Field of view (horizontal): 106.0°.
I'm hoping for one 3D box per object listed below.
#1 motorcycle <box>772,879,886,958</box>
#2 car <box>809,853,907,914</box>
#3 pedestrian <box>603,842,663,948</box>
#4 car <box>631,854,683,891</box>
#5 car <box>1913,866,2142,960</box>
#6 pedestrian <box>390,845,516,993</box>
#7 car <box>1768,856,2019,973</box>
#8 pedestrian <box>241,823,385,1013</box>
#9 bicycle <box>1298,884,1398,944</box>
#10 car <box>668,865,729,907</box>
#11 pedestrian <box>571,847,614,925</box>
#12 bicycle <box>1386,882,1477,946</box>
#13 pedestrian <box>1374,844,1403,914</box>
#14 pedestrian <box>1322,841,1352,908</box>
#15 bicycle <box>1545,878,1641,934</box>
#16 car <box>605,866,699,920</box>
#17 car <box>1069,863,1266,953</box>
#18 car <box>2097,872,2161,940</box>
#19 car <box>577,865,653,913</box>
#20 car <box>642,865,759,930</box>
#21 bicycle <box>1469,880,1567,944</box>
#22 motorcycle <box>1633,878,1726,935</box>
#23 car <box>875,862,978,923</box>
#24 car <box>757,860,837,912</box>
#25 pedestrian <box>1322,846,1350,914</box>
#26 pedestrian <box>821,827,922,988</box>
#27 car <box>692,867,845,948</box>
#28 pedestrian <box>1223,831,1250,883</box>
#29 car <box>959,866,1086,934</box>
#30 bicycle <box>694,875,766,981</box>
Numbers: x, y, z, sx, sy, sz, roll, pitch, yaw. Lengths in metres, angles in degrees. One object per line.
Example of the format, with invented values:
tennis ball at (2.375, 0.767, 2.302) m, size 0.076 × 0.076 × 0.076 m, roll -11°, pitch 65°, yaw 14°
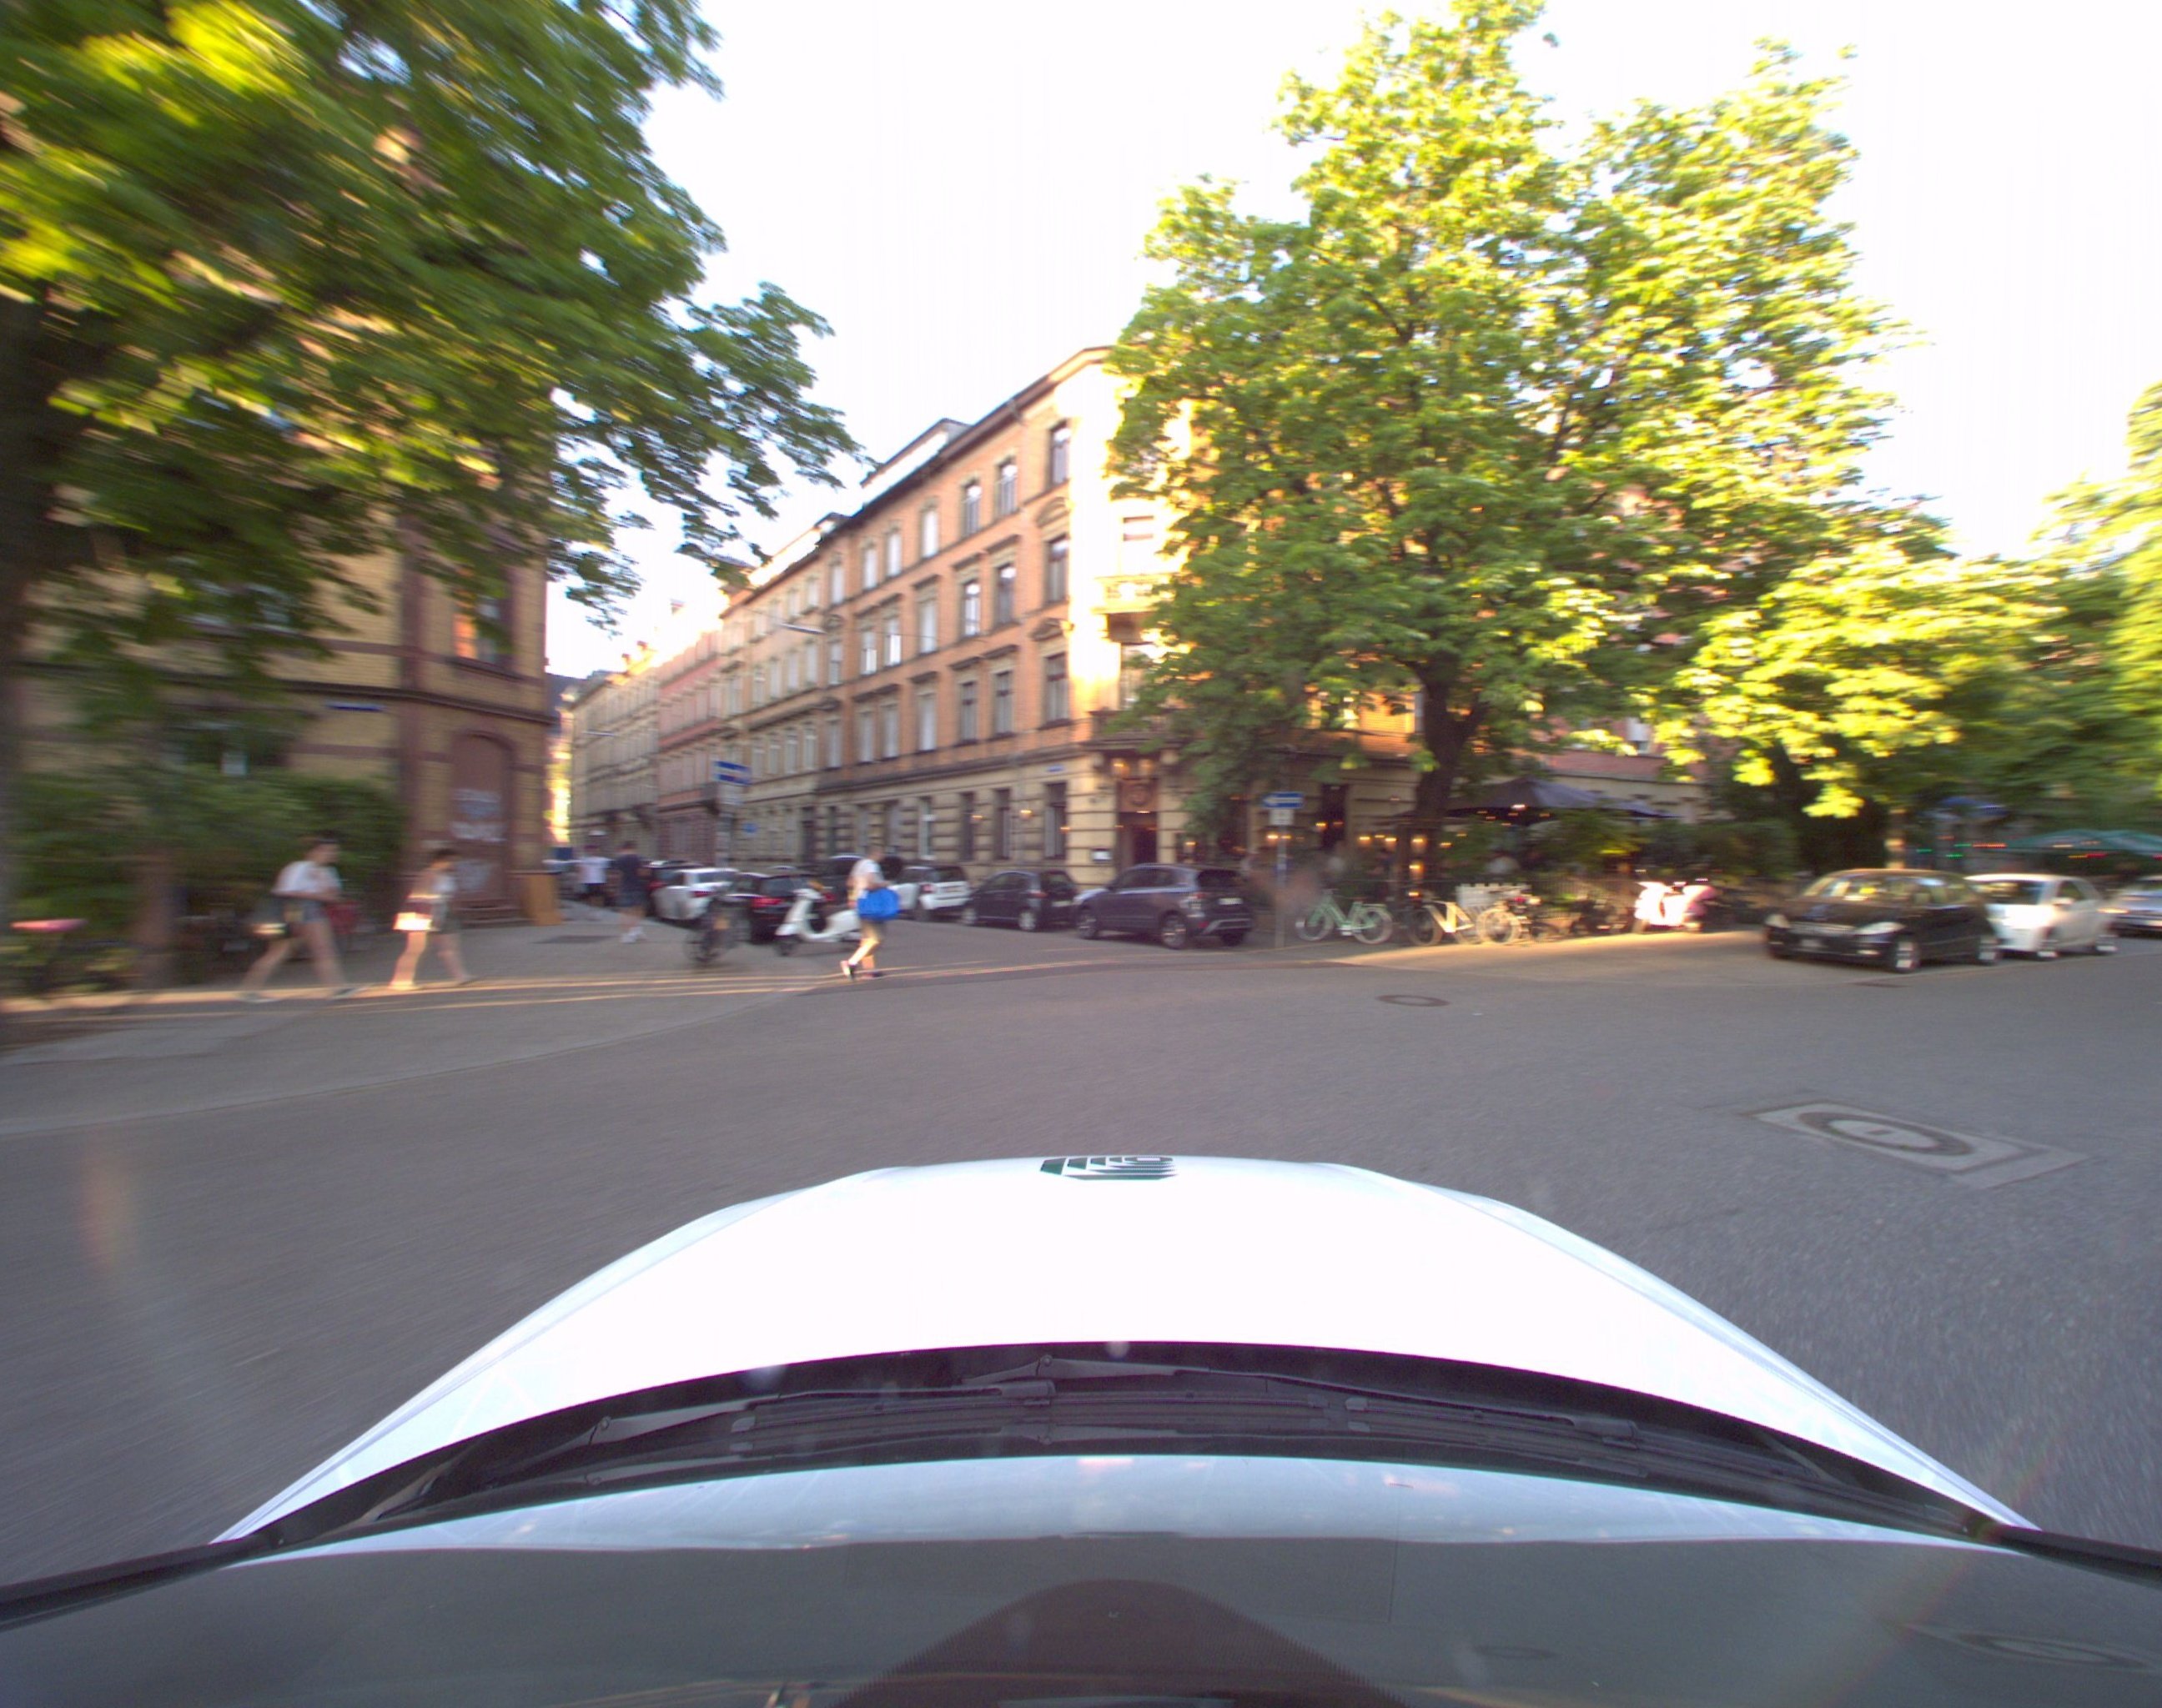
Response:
motorcycle at (-4.394, 1.099, 14.222) m, size 1.863 × 1.257 × 0.469 m, roll -1°, pitch -1°, yaw -24°
car at (-7.200, 0.902, 26.089) m, size 1.697 × 1.823 × 3.447 m, roll -1°, pitch -1°, yaw -41°
pedestrian at (-8.018, 0.720, 14.607) m, size 0.687 × 1.823 × 0.788 m, roll 4°, pitch -1°, yaw -19°
car at (-22.422, 0.968, 43.052) m, size 1.697 × 1.823 × 3.447 m, roll -1°, pitch -1°, yaw -41°
car at (17.642, 1.014, 15.191) m, size 3.713 × 1.493 × 1.658 m, roll 0°, pitch 2°, yaw -22°
pedestrian at (-7.411, 0.729, 9.630) m, size 0.679 × 1.630 × 1.059 m, roll -1°, pitch -2°, yaw 43°
car at (13.657, 0.907, 13.692) m, size 3.851 × 1.677 × 1.657 m, roll 0°, pitch 2°, yaw -23°
pedestrian at (-8.004, 0.628, 8.502) m, size 0.679 × 1.835 × 1.015 m, roll -1°, pitch -2°, yaw 43°
bicycle at (5.209, 1.155, 15.942) m, size 1.805 × 1.098 × 0.395 m, roll -1°, pitch -1°, yaw 31°
car at (-17.881, 1.449, 37.976) m, size 1.697 × 1.823 × 3.447 m, roll -1°, pitch -1°, yaw -41°
pedestrian at (-11.945, 0.774, 19.912) m, size 0.783 × 1.823 × 0.916 m, roll 4°, pitch -1°, yaw -32°
bicycle at (6.614, 1.119, 15.354) m, size 1.744 × 1.144 × 0.390 m, roll 0°, pitch -1°, yaw -18°
pedestrian at (6.454, 0.518, 17.073) m, size 0.424 × 1.451 × 0.466 m, roll -1°, pitch -1°, yaw 38°
pedestrian at (5.925, 0.465, 18.847) m, size 0.517 × 1.520 × 0.466 m, roll -1°, pitch -1°, yaw 38°
bicycle at (10.799, 1.101, 17.188) m, size 1.951 × 1.143 × 0.391 m, roll 1°, pitch 1°, yaw -12°
car at (-13.032, 1.126, 24.623) m, size 1.587 × 1.458 × 4.372 m, roll -1°, pitch -1°, yaw -41°
car at (1.610, 0.969, 16.220) m, size 1.641 × 1.545 × 3.813 m, roll -1°, pitch -1°, yaw -40°
car at (26.088, 1.200, 19.133) m, size 4.610 × 1.411 × 1.830 m, roll 0°, pitch 2°, yaw -27°
car at (-16.554, 1.183, 28.849) m, size 1.587 × 1.572 × 4.070 m, roll -1°, pitch -1°, yaw -41°
car at (-9.869, 1.047, 20.949) m, size 1.587 × 1.458 × 4.372 m, roll -1°, pitch -1°, yaw -41°
bicycle at (8.458, 1.103, 15.759) m, size 1.955 × 1.185 × 0.390 m, roll 1°, pitch 2°, yaw -18°
motorcycle at (12.860, 1.117, 17.499) m, size 1.951 × 1.185 × 0.391 m, roll 1°, pitch 1°, yaw -12°
car at (-4.471, 1.040, 23.297) m, size 1.474 × 1.594 × 3.295 m, roll -1°, pitch -1°, yaw -39°
car at (-10.791, 1.177, 30.818) m, size 1.697 × 1.823 × 3.447 m, roll -1°, pitch -1°, yaw -41°
pedestrian at (5.554, 0.561, 17.711) m, size 0.424 × 1.451 × 0.466 m, roll -1°, pitch -1°, yaw 38°
pedestrian at (-2.789, 0.681, 10.864) m, size 1.015 × 2.014 × 0.858 m, roll 1°, pitch -2°, yaw -41°
car at (-6.711, 1.034, 17.258) m, size 1.797 × 1.458 × 3.971 m, roll -1°, pitch -1°, yaw -41°
pedestrian at (4.260, 0.087, 22.311) m, size 0.465 × 1.412 × 0.518 m, roll -1°, pitch -1°, yaw -35°
car at (-1.519, 1.065, 20.187) m, size 1.475 × 1.458 × 3.294 m, roll -1°, pitch 0°, yaw -40°
bicycle at (-5.095, 1.023, 11.910) m, size 0.516 × 1.392 × 1.794 m, roll 2°, pitch -1°, yaw -10°
